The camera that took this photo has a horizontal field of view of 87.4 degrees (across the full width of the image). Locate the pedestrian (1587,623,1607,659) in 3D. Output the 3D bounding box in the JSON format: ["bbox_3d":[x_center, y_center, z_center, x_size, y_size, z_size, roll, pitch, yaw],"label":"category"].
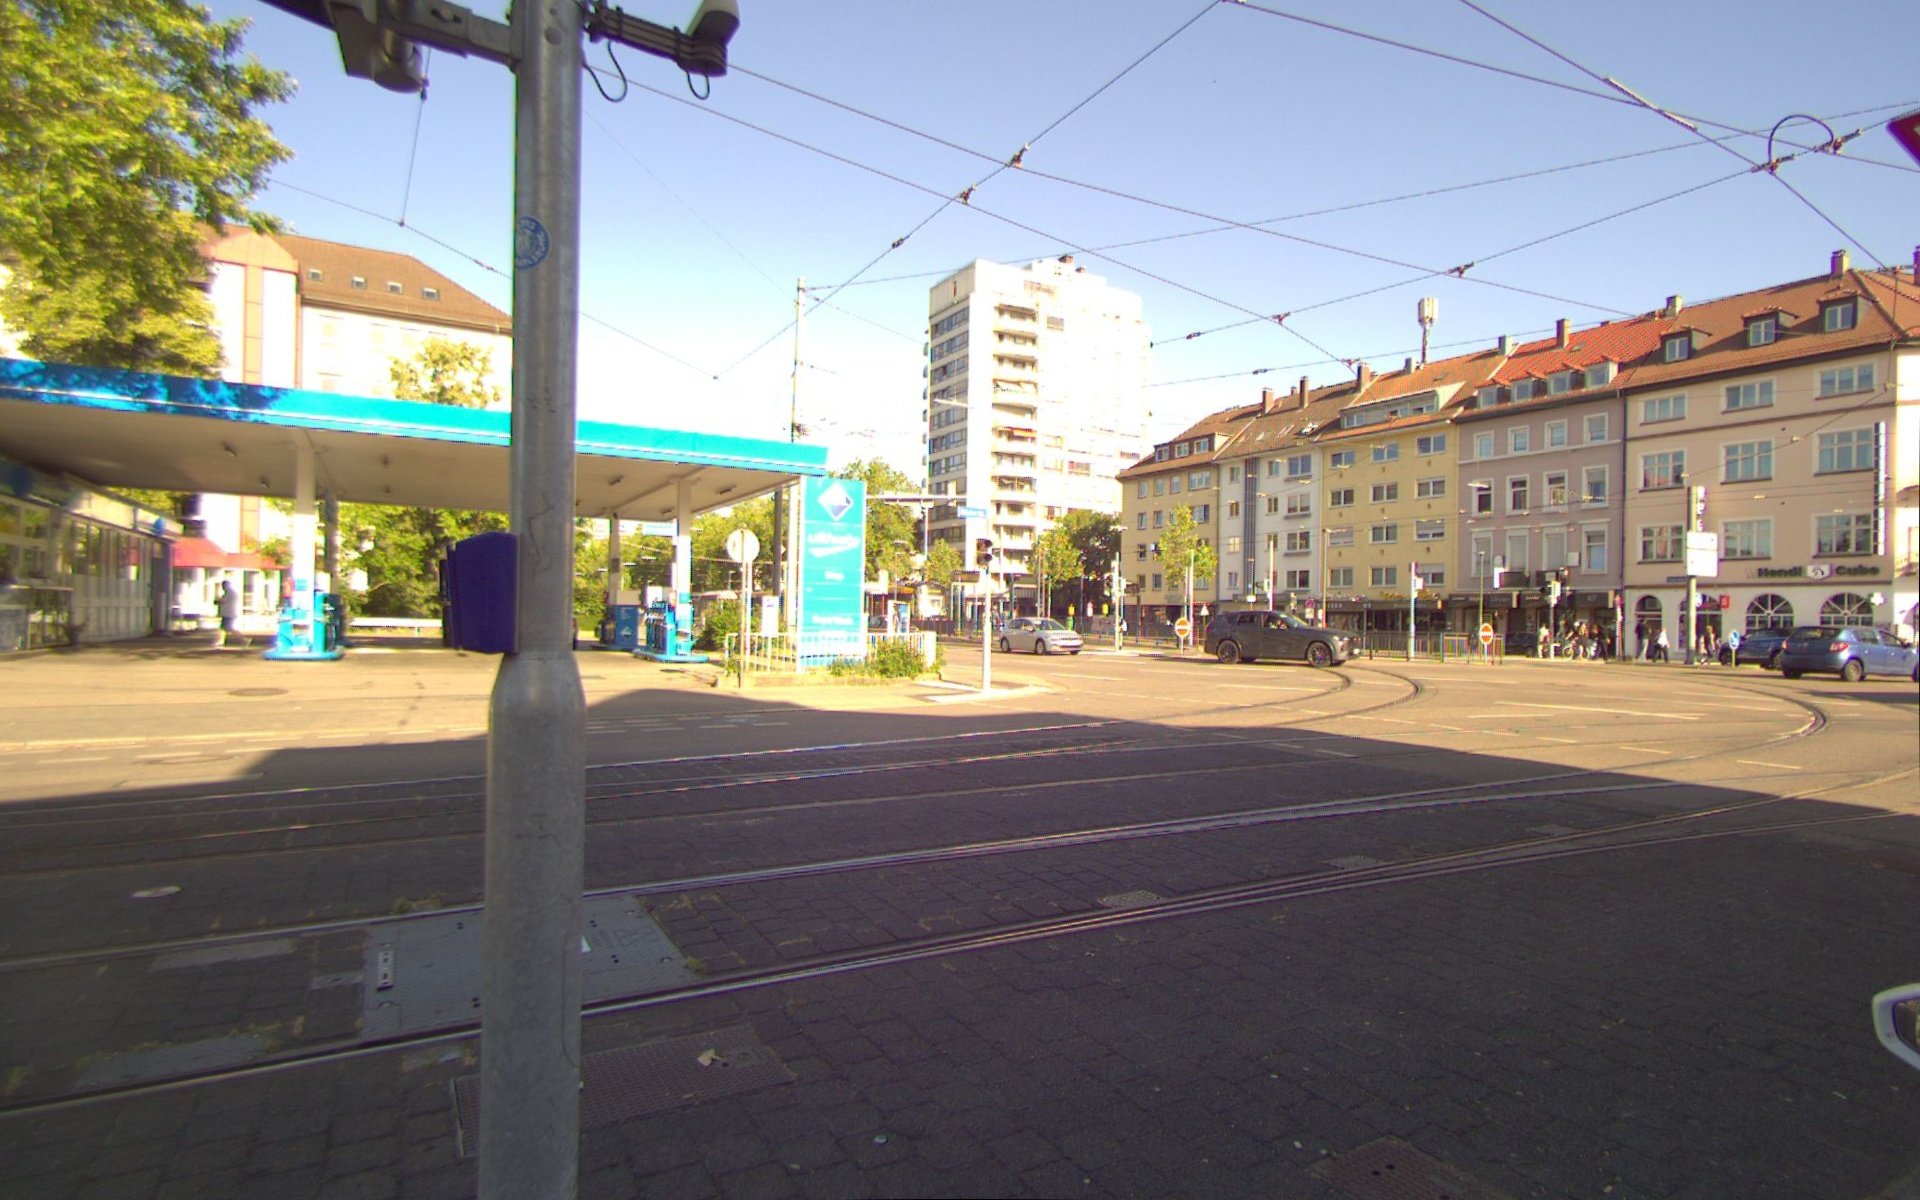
[{"bbox_3d":[27.231,1.741,42.959,0.550,1.512,0.489,2,0,-30],"label":"pedestrian"}]

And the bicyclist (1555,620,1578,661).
[{"bbox_3d":[27.510,1.843,45.563,0.606,1.814,0.619,2,0,-25],"label":"bicyclist"}]

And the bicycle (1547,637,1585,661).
[{"bbox_3d":[27.490,2.241,45.561,1.731,1.044,0.619,2,0,-25],"label":"bicycle"}]

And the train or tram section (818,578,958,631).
[{"bbox_3d":[-5.414,0.226,69.034,2.821,3.179,16.611,2,0,-29],"label":"train or tram section"}]

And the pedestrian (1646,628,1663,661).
[{"bbox_3d":[30.308,1.951,43.855,0.620,1.438,0.399,2,0,-36],"label":"pedestrian"}]

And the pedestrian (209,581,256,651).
[{"bbox_3d":[-18.063,0.410,24.967,0.838,1.724,0.644,2,-3,-31],"label":"pedestrian"}]

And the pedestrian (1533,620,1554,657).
[{"bbox_3d":[27.142,1.799,46.735,0.609,1.670,0.581,2,0,-30],"label":"pedestrian"}]

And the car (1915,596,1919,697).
[{"bbox_3d":[20.575,0.935,17.989,5.115,1.879,1.999,1,1,-3],"label":"car"}]

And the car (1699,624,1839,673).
[{"bbox_3d":[29.575,1.736,36.898,1.795,1.596,4.199,1,0,1],"label":"car"}]

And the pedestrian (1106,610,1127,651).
[{"bbox_3d":[6.368,1.243,40.916,0.750,1.631,0.613,2,0,15],"label":"pedestrian"}]

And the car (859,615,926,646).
[{"bbox_3d":[-3.589,1.582,52.816,1.976,1.537,4.177,1,-1,-29],"label":"car"}]

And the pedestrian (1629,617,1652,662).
[{"bbox_3d":[28.568,1.657,42.195,0.668,1.847,0.525,2,0,-29],"label":"pedestrian"}]

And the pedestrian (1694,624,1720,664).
[{"bbox_3d":[32.201,1.898,43.300,0.831,1.670,0.579,2,0,-30],"label":"pedestrian"}]

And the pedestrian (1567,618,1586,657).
[{"bbox_3d":[26.957,1.652,43.915,0.492,1.670,0.520,2,0,-30],"label":"pedestrian"}]

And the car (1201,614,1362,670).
[{"bbox_3d":[9.922,1.251,31.157,4.385,1.623,1.867,0,-2,38],"label":"car"}]

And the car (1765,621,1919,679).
[{"bbox_3d":[24.798,1.388,27.959,3.853,1.523,1.785,1,-1,-14],"label":"car"}]

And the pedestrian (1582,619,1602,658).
[{"bbox_3d":[27.408,1.671,43.545,0.492,1.670,0.520,2,0,-30],"label":"pedestrian"}]

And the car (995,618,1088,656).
[{"bbox_3d":[3.174,1.426,39.991,1.713,1.408,4.196,1,-1,-29],"label":"car"}]

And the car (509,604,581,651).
[{"bbox_3d":[-13.519,0.861,32.644,1.659,1.372,3.559,2,0,-31],"label":"car"}]

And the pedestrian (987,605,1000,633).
[{"bbox_3d":[2.657,1.493,79.196,0.729,2.127,0.880,2,0,-21],"label":"pedestrian"}]
